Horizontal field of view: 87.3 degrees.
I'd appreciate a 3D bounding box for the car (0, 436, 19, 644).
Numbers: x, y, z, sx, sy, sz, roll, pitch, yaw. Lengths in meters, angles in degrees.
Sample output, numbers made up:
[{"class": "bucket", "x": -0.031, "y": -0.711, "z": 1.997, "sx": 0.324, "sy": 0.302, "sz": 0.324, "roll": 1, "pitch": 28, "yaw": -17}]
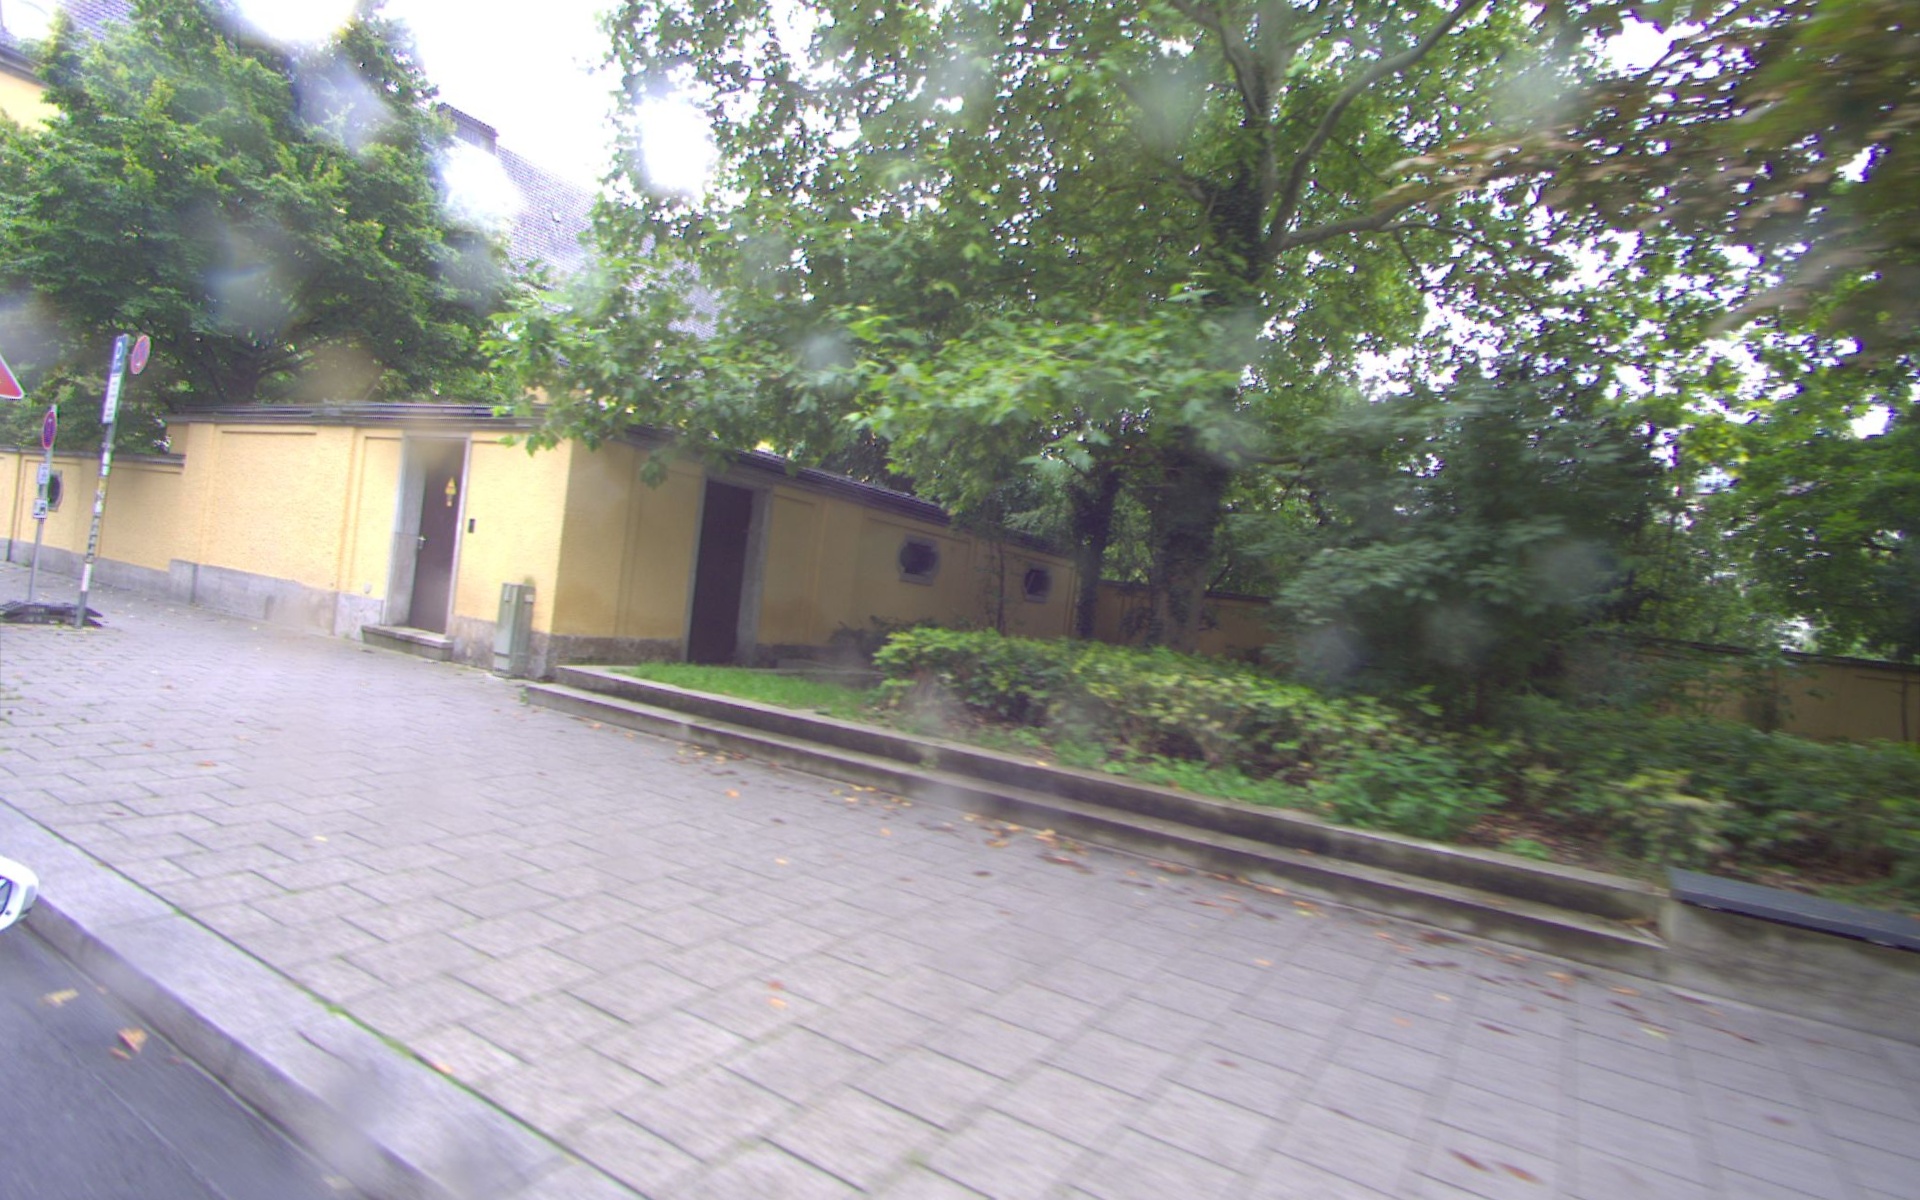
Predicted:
[{"class": "car", "x": -11.947, "y": -0.842, "z": 10.320, "sx": 5.354, "sy": 1.991, "sz": 1.861, "roll": 5, "pitch": -1, "yaw": 31}]
